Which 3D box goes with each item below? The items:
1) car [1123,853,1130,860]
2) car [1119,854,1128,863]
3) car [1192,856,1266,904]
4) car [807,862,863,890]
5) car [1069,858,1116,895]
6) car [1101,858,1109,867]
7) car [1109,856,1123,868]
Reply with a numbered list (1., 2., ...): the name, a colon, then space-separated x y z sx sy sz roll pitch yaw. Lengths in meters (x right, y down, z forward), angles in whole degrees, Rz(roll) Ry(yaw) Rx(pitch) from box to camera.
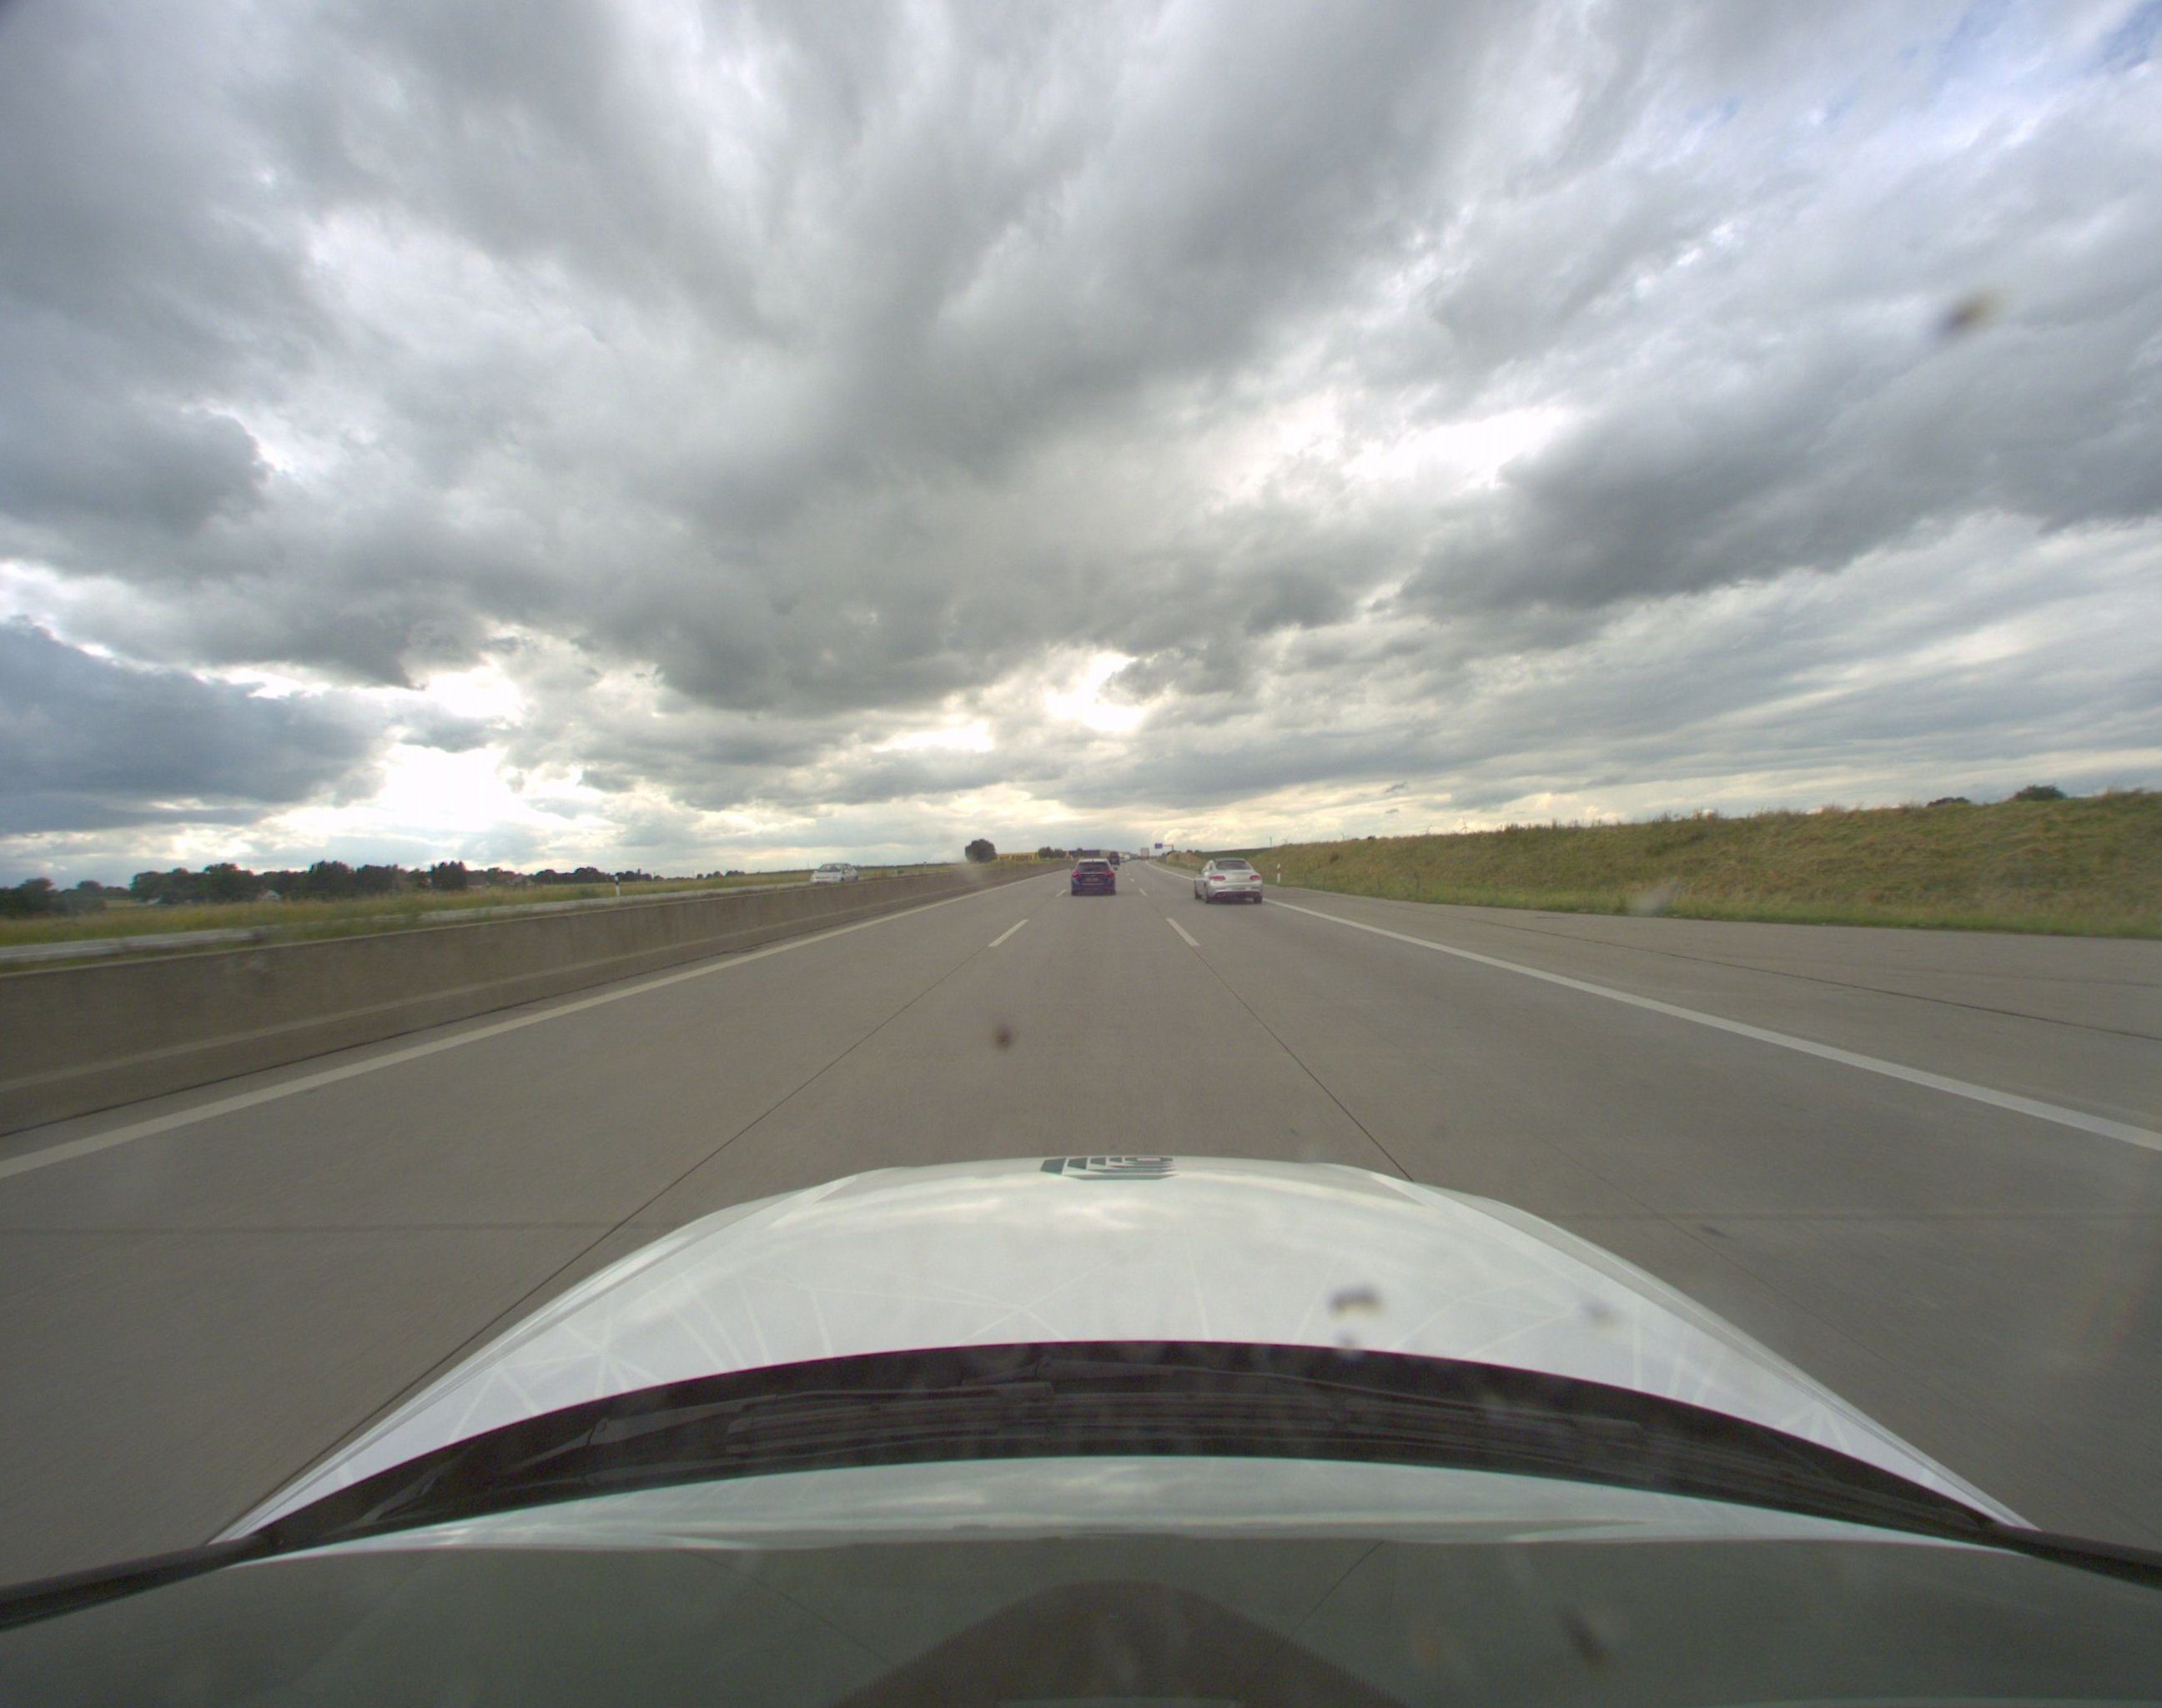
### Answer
1. car: 13.315 0.839 239.470 1.986 2.014 4.002 -1 -1 2
2. car: 9.980 1.010 190.050 1.985 2.014 4.004 0 0 3
3. car: 4.783 0.815 26.830 1.782 1.403 4.223 -1 -1 2
4. car: -14.366 1.270 47.764 1.771 1.507 4.519 -1 -1 2
5. car: 0.456 0.901 33.451 1.769 1.413 3.999 -1 -1 0
6. car: 5.918 2.115 201.407 2.038 2.014 4.002 -1 -1 2
7. car: 5.665 1.336 133.949 1.989 2.014 3.996 0 -1 -2
